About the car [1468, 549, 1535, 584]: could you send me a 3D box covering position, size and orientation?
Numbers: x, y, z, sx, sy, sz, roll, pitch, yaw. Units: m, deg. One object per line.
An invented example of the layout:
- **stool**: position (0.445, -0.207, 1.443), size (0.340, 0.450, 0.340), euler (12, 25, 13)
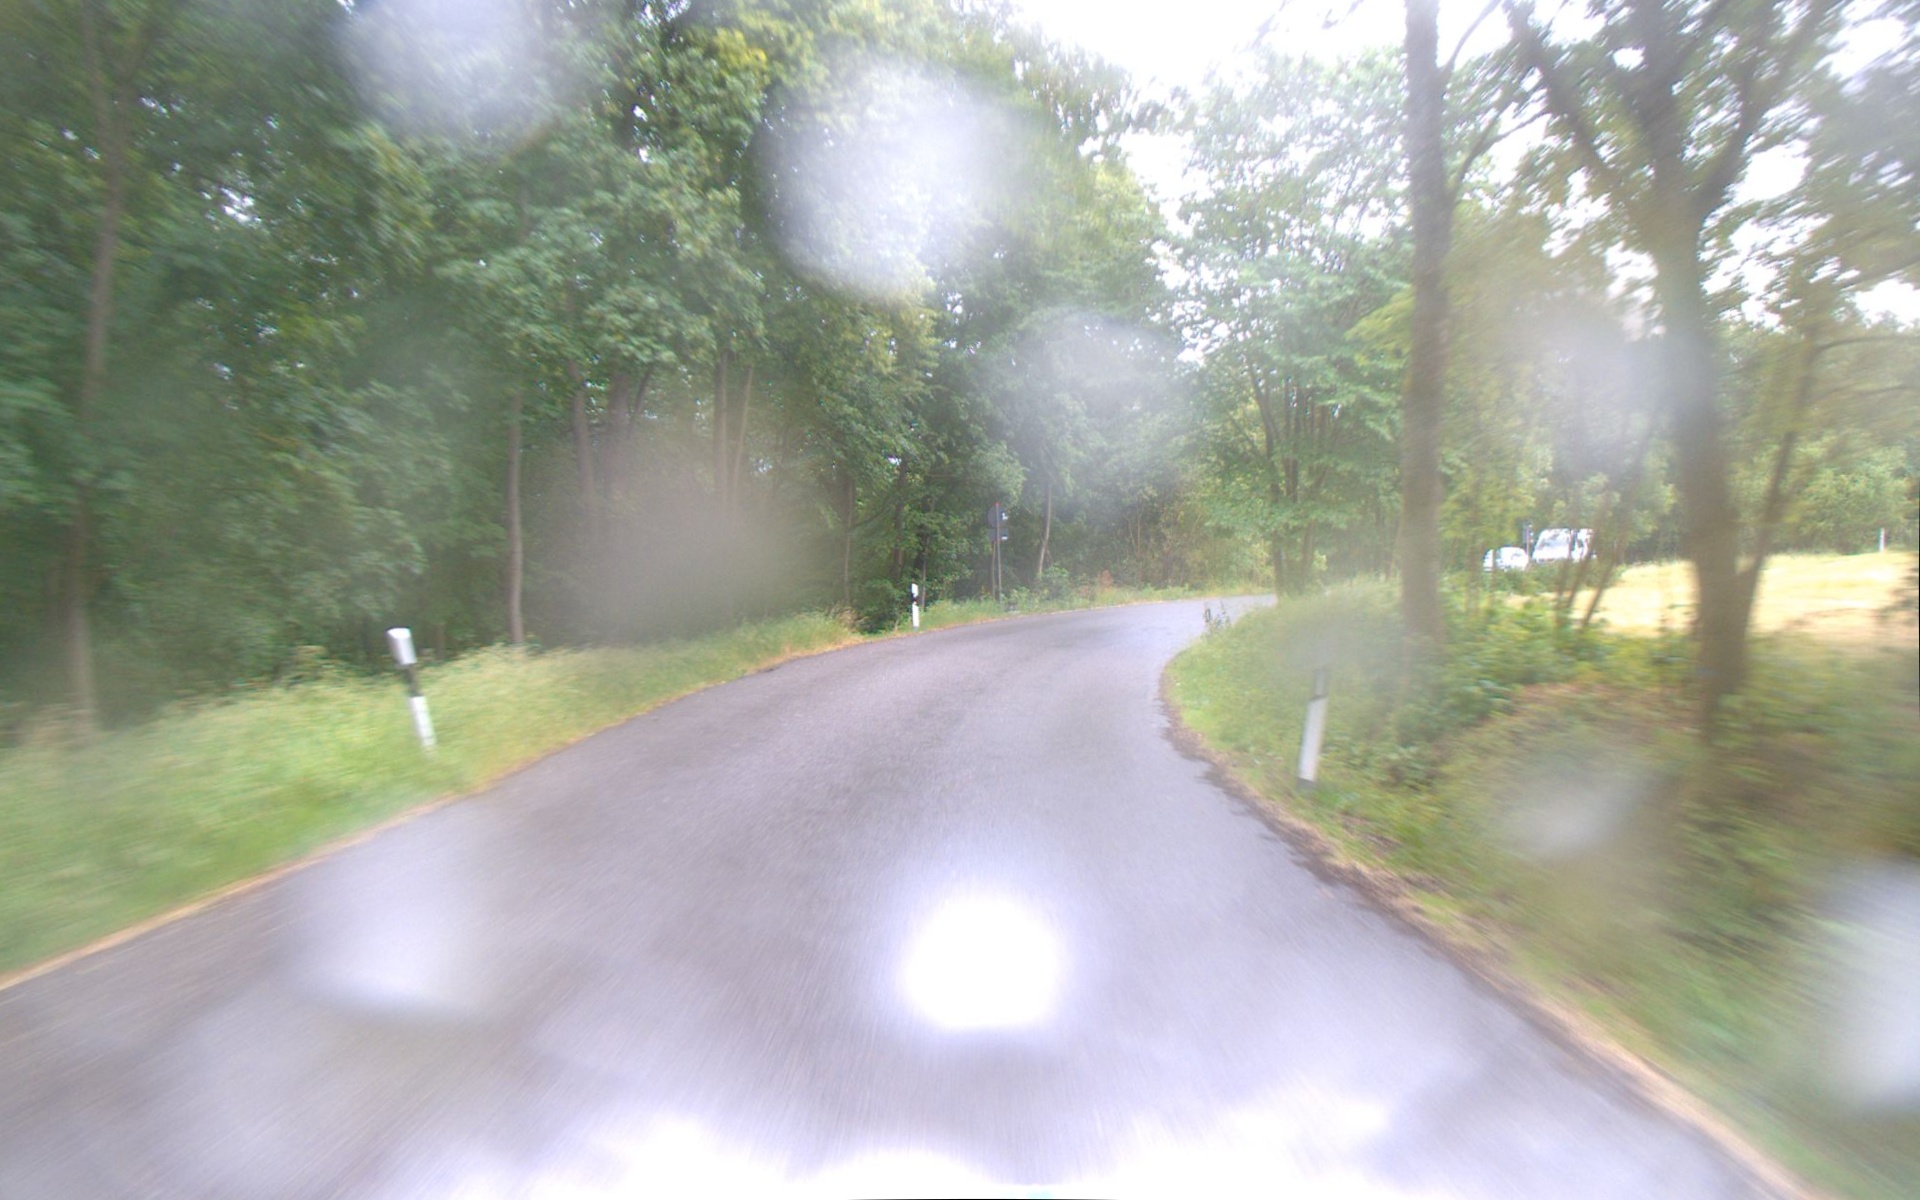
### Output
- **car**: position (28.282, -1.776, 86.293), size (1.832, 1.623, 4.473), euler (-1, 3, 39)
